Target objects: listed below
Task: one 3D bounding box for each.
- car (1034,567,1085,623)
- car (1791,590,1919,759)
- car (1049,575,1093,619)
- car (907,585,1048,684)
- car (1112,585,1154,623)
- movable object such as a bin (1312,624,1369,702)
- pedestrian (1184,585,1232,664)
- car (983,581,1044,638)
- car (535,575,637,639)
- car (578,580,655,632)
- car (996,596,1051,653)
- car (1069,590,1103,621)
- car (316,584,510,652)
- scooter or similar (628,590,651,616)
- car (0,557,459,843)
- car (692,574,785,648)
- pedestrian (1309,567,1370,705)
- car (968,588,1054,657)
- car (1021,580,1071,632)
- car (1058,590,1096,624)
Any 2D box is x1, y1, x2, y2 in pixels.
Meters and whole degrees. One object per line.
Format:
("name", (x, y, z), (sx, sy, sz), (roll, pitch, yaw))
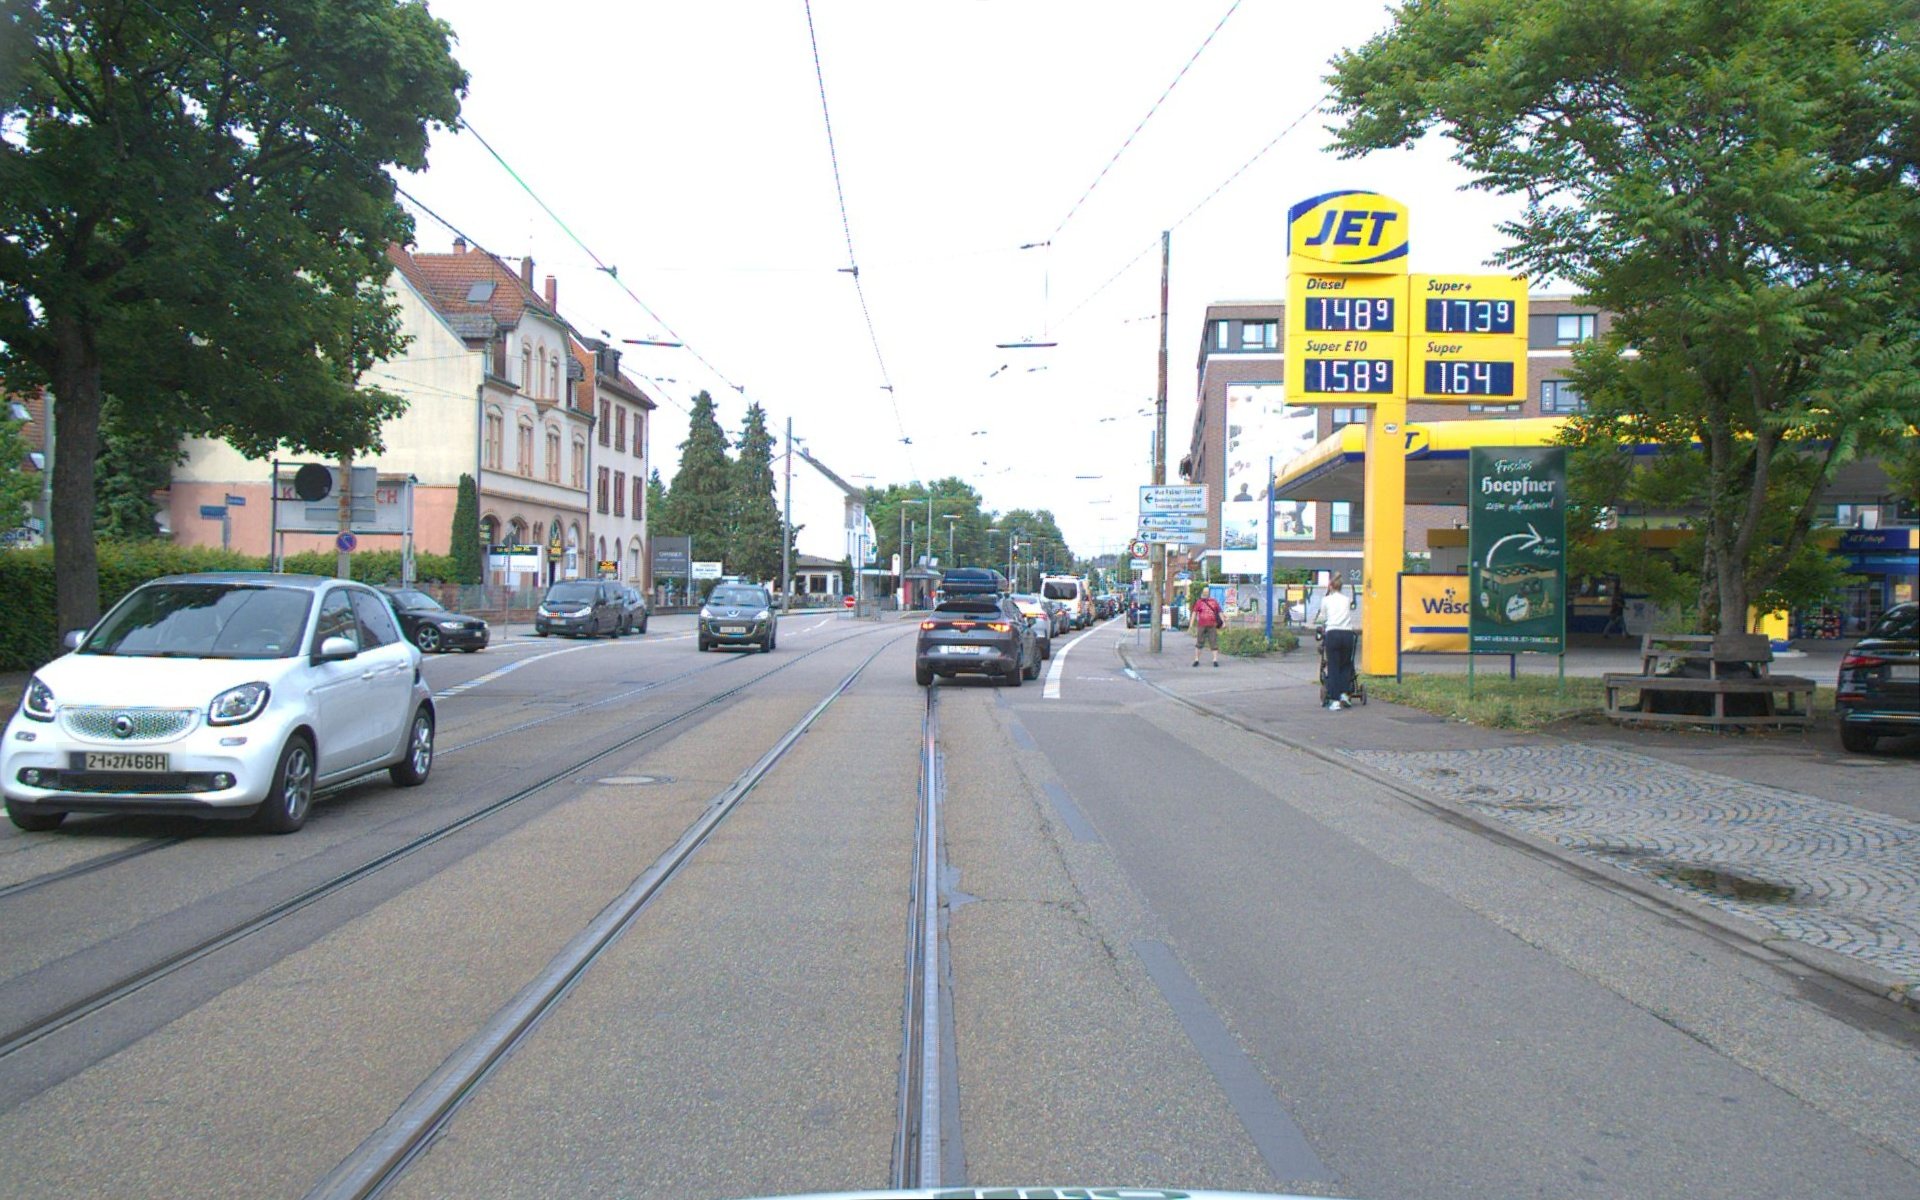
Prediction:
("car", (4.612, -0.216, 77.355), (2.171, 2.465, 4.952), (2, 0, 1))
("car", (9.878, 0.643, 16.267), (1.901, 1.432, 4.556), (0, 1, 43))
("car", (5.770, -0.127, 86.563), (2.095, 2.183, 4.745), (2, 0, 2))
("car", (0.394, 0.581, 29.074), (1.948, 1.523, 4.329), (2, 0, 7))
("car", (8.905, 0.215, 85.477), (1.835, 1.855, 4.097), (2, 0, 2))
("movable object such as a bin", (5.384, 0.880, 23.394), (0.751, 1.057, 1.025), (-1, 0, 13))
("pedestrian", (5.665, 0.553, 37.808), (0.951, 1.769, 0.861), (-1, -1, 2))
("car", (1.770, 0.322, 55.868), (1.928, 1.787, 3.838), (2, 0, 1))
("car", (-12.081, 0.226, 53.781), (1.950, 1.920, 4.999), (2, 0, 2))
("car", (-12.464, 0.222, 60.241), (1.806, 1.748, 4.193), (2, 0, 1))
("car", (2.410, 0.914, 63.067), (1.952, 2.049, 4.001), (2, 0, 1))
("car", (8.741, 0.395, 115.325), (1.953, 2.049, 3.999), (2, 0, -1))
("car", (-12.262, 0.376, 37.139), (3.838, 1.412, 1.802), (1, 0, 20))
("scooter or similar", (-15.499, 0.138, 80.012), (1.039, 1.209, 0.315), (3, -1, -33))
("car", (-4.719, 0.566, 11.069), (1.669, 1.556, 3.740), (1, 0, -2))
("car", (-5.575, 0.276, 42.172), (1.790, 1.768, 4.334), (0, 0, 0))
("pedestrian", (5.216, 0.486, 22.712), (0.751, 1.828, 1.163), (-1, 0, 13))
("car", (1.232, 0.542, 41.793), (1.941, 1.577, 4.183), (2, 0, -1))
("car", (3.612, 0.257, 69.450), (1.952, 2.049, 4.001), (2, 0, 3))
("car", (7.260, 0.433, 103.266), (1.953, 2.049, 3.999), (2, 0, -1))
